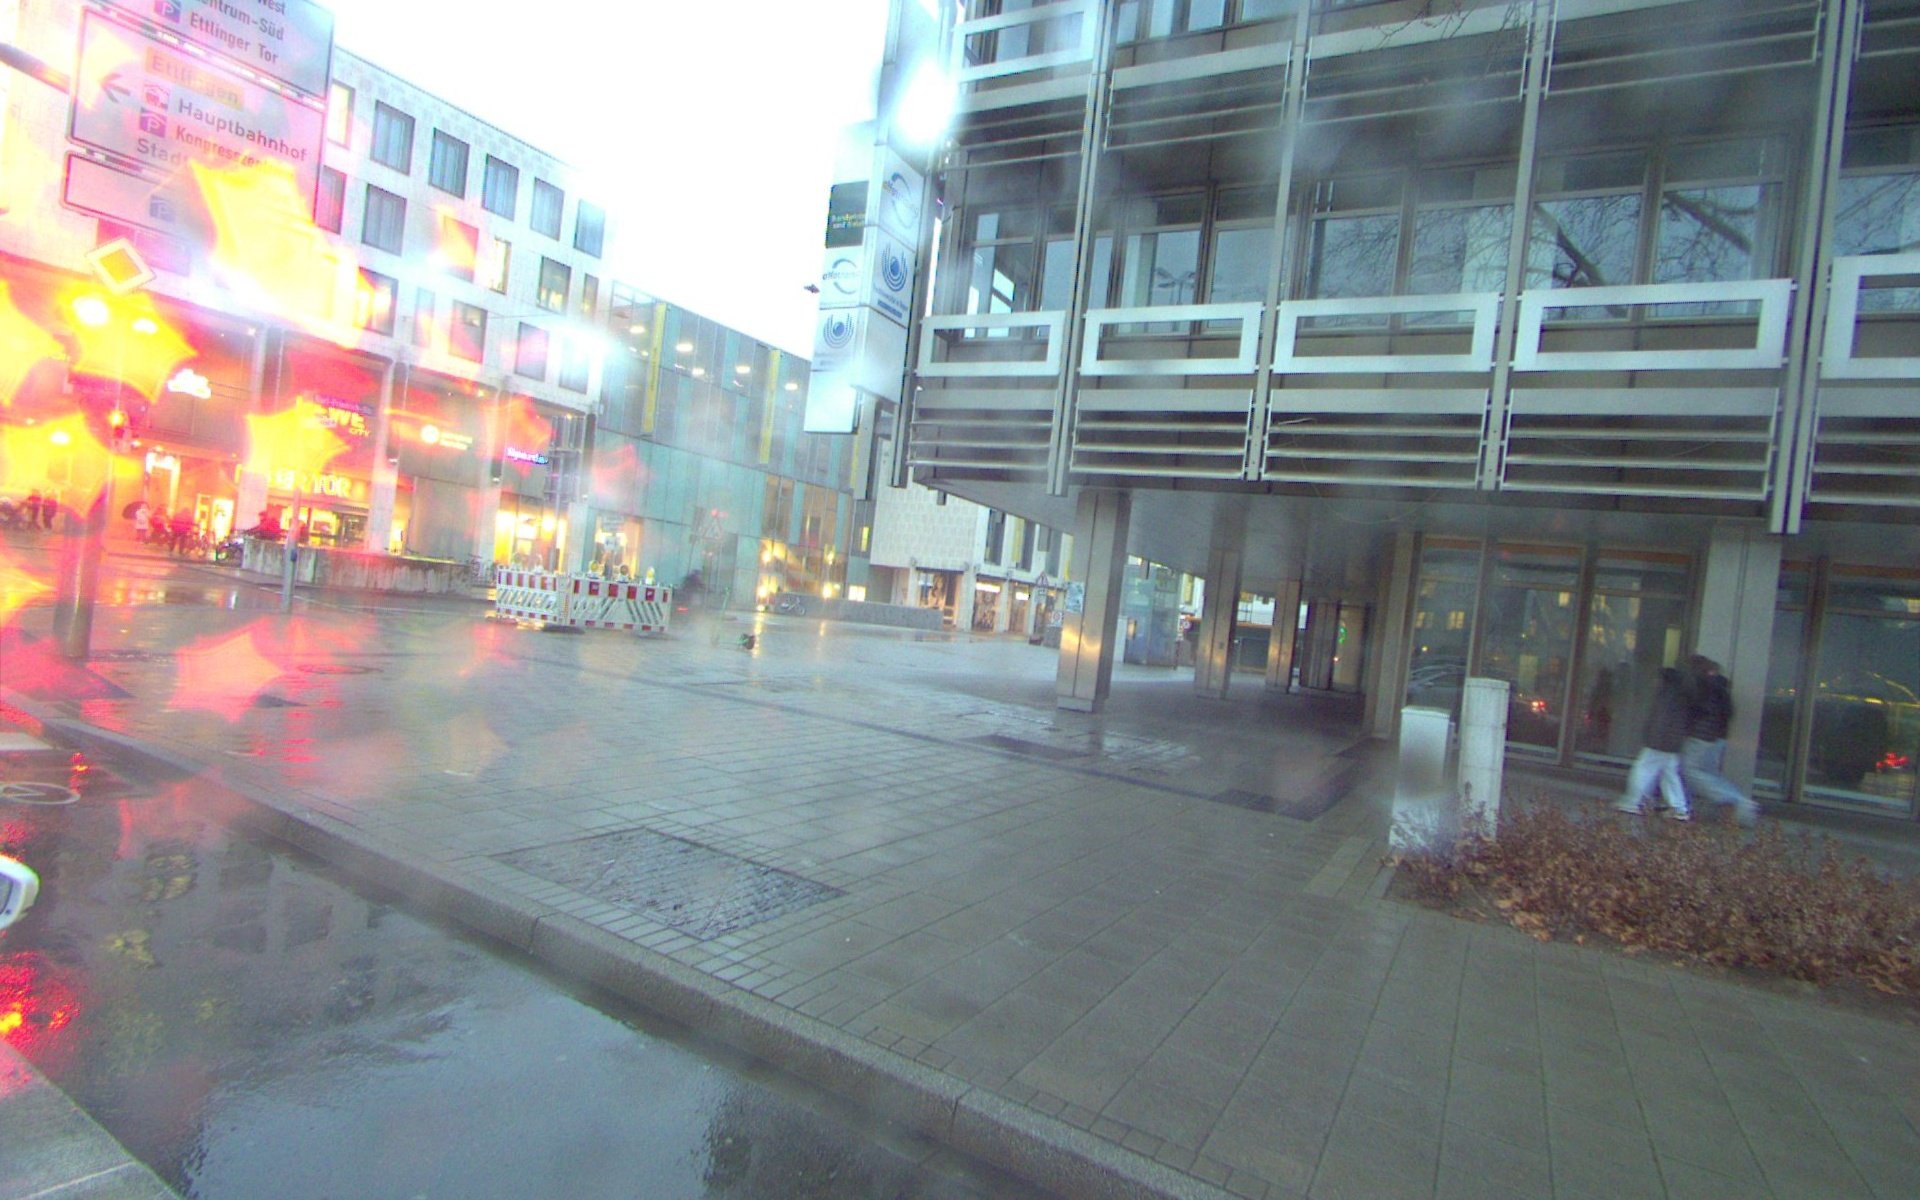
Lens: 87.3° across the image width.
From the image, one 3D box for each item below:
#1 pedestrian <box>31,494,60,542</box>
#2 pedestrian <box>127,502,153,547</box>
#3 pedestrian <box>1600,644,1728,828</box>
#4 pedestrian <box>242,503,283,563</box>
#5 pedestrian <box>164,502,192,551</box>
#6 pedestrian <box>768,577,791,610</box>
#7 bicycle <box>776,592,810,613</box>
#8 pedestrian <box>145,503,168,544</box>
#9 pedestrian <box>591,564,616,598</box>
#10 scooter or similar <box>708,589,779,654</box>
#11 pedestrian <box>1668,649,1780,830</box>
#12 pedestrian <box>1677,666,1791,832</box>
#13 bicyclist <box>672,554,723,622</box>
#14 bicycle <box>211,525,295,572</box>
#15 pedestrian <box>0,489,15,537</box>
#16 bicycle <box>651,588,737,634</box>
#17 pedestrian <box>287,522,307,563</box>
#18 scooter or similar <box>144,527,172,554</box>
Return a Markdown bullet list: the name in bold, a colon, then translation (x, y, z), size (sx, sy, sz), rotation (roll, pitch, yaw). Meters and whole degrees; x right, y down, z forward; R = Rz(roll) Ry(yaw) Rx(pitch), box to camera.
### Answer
- **pedestrian**: translation (-35.017, -3.120, 38.517), size (0.529, 1.739, 0.500), rotation (6, 1, -21)
- **pedestrian**: translation (-33.430, -3.075, 41.013), size (0.529, 1.739, 0.500), rotation (6, 1, -21)
- **pedestrian**: translation (7.069, 1.337, 10.139), size (0.859, 1.689, 0.500), rotation (7, 1, 32)
- **pedestrian**: translation (-20.154, -1.926, 29.061), size (0.778, 1.615, 0.605), rotation (6, 1, -43)
- **pedestrian**: translation (-28.629, -2.666, 36.825), size (0.529, 1.706, 0.546), rotation (6, 1, -21)
- **pedestrian**: translation (-12.184, -0.421, 67.924), size (1.006, 2.037, 0.906), rotation (6, -1, 31)
- **bicycle**: translation (-10.181, 0.163, 61.307), size (2.101, 1.046, 0.616), rotation (6, 0, 33)
- **pedestrian**: translation (-35.294, -3.351, 44.214), size (0.529, 1.739, 0.500), rotation (6, 1, -21)
- **pedestrian**: translation (-18.344, -0.971, 51.774), size (0.697, 1.650, 0.795), rotation (6, -1, 31)
- **scooter or similar**: translation (-4.367, 0.435, 20.291), size (1.215, 1.144, 0.606), rotation (7, 0, 32)
- **pedestrian**: translation (7.690, 1.383, 10.147), size (0.702, 1.689, 0.378), rotation (7, 1, 32)
- **pedestrian**: translation (8.062, 1.530, 10.513), size (0.733, 1.584, 0.484), rotation (7, 1, 30)
- **bicyclist**: translation (-7.114, -0.308, 27.301), size (0.608, 1.718, 1.034), rotation (7, 1, 34)
- **bicycle**: translation (-20.313, -1.463, 28.947), size (1.839, 1.107, 0.610), rotation (7, 0, -44)
- **pedestrian**: translation (-35.702, -3.249, 37.433), size (0.529, 1.739, 0.500), rotation (6, 1, -21)
- **bicycle**: translation (-7.176, 0.317, 27.309), size (0.608, 1.045, 2.374), rotation (7, 0, 34)
- **pedestrian**: translation (-30.153, -2.620, 45.774), size (0.368, 1.782, 0.512), rotation (7, 1, 33)
- **scooter or similar**: translation (-33.302, -2.479, 41.787), size (0.394, 1.006, 0.741), rotation (7, 0, 33)
